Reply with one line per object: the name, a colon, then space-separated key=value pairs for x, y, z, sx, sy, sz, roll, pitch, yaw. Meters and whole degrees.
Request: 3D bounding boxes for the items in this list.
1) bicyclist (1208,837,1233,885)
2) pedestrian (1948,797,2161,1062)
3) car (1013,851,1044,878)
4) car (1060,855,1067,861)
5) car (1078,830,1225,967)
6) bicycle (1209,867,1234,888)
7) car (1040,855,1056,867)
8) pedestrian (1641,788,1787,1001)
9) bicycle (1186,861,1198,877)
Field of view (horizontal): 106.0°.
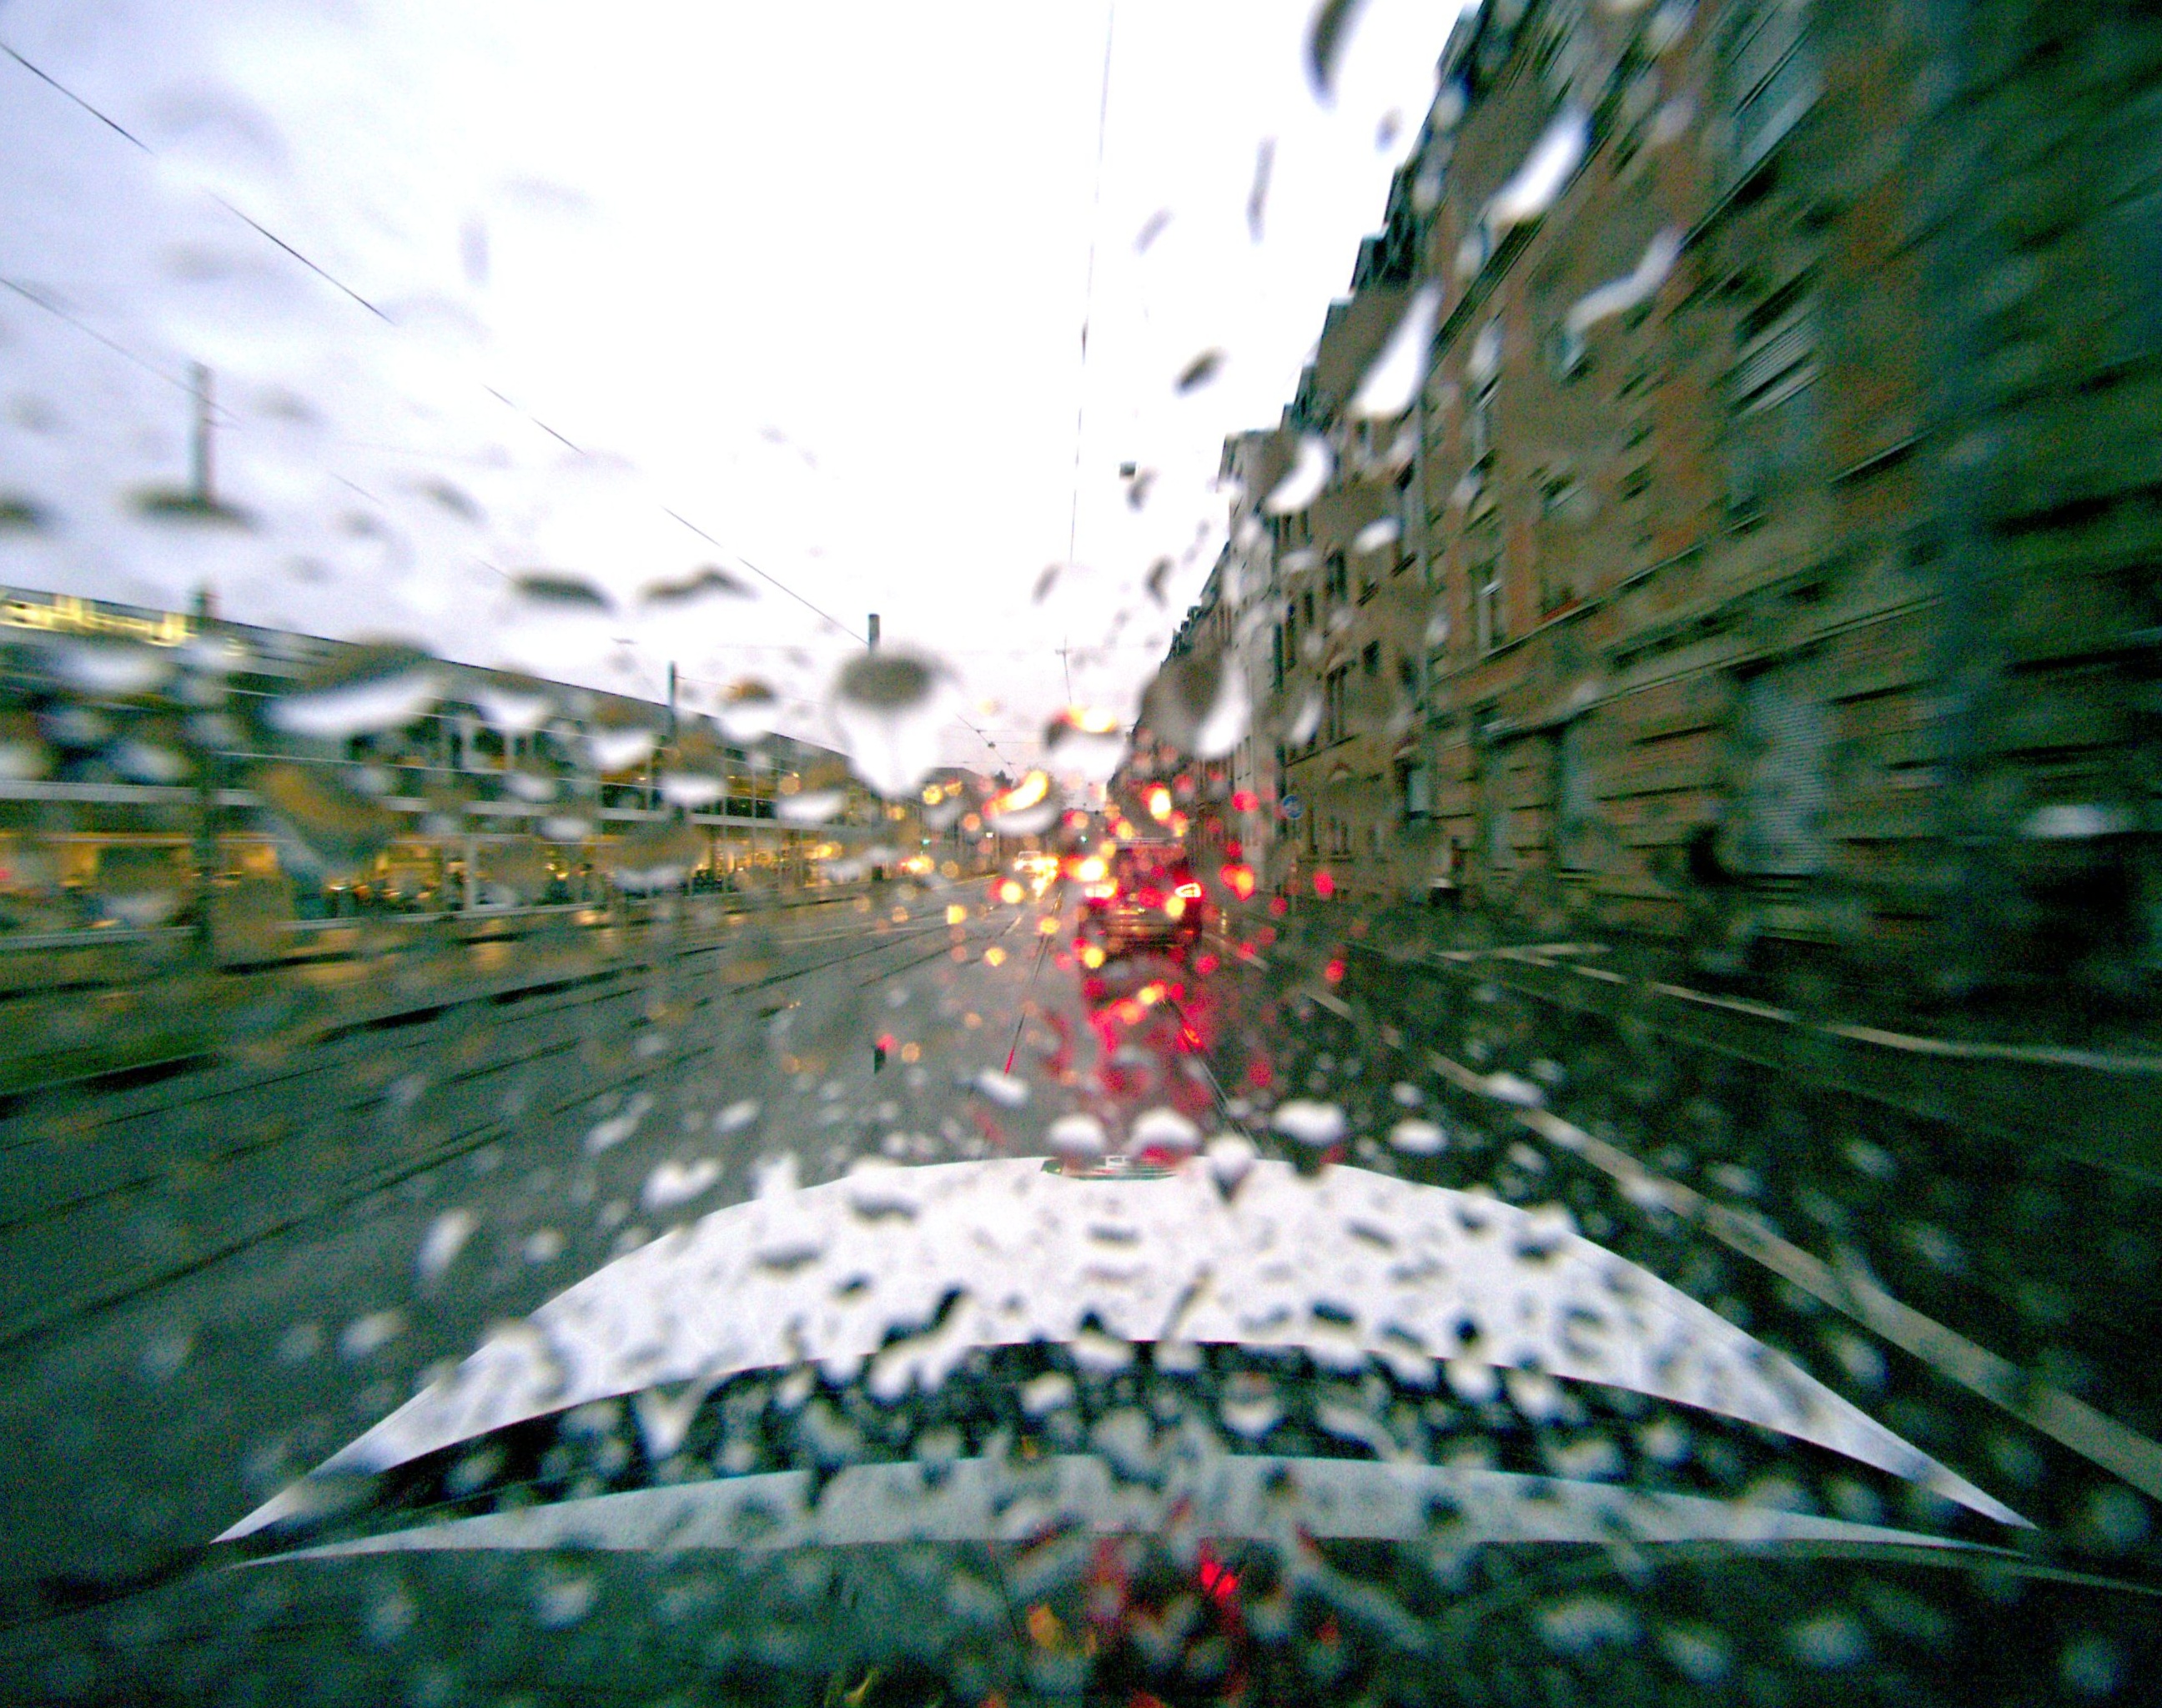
bicyclist: x=5.568 y=0.288 z=32.546 sx=0.743 sy=1.880 sz=1.110 roll=-1 pitch=-1 yaw=-3
pedestrian: x=6.172 y=0.443 z=5.133 sx=0.629 sy=1.548 sz=0.711 roll=-1 pitch=-1 yaw=2
car: x=-4.040 y=0.805 z=63.165 sx=1.986 sy=2.014 sz=4.685 roll=0 pitch=-1 yaw=1
car: x=-4.825 y=1.101 z=228.792 sx=1.870 sy=1.710 sz=4.758 roll=-2 pitch=0 yaw=-1
car: x=1.045 y=0.616 z=13.126 sx=1.986 sy=1.842 sz=4.002 roll=-1 pitch=0 yaw=2
bicycle: x=5.619 y=0.924 z=32.571 sx=0.606 sy=0.761 sz=1.859 roll=-1 pitch=-1 yaw=-2
car: x=-4.491 y=0.984 z=112.017 sx=1.835 sy=1.578 sz=4.443 roll=-1 pitch=0 yaw=1
pedestrian: x=5.696 y=0.353 z=7.368 sx=0.748 sy=1.825 sz=0.711 roll=-1 pitch=-1 yaw=2
bicycle: x=6.739 y=0.913 z=49.526 sx=0.396 sy=0.911 sz=1.866 roll=-1 pitch=0 yaw=-1
